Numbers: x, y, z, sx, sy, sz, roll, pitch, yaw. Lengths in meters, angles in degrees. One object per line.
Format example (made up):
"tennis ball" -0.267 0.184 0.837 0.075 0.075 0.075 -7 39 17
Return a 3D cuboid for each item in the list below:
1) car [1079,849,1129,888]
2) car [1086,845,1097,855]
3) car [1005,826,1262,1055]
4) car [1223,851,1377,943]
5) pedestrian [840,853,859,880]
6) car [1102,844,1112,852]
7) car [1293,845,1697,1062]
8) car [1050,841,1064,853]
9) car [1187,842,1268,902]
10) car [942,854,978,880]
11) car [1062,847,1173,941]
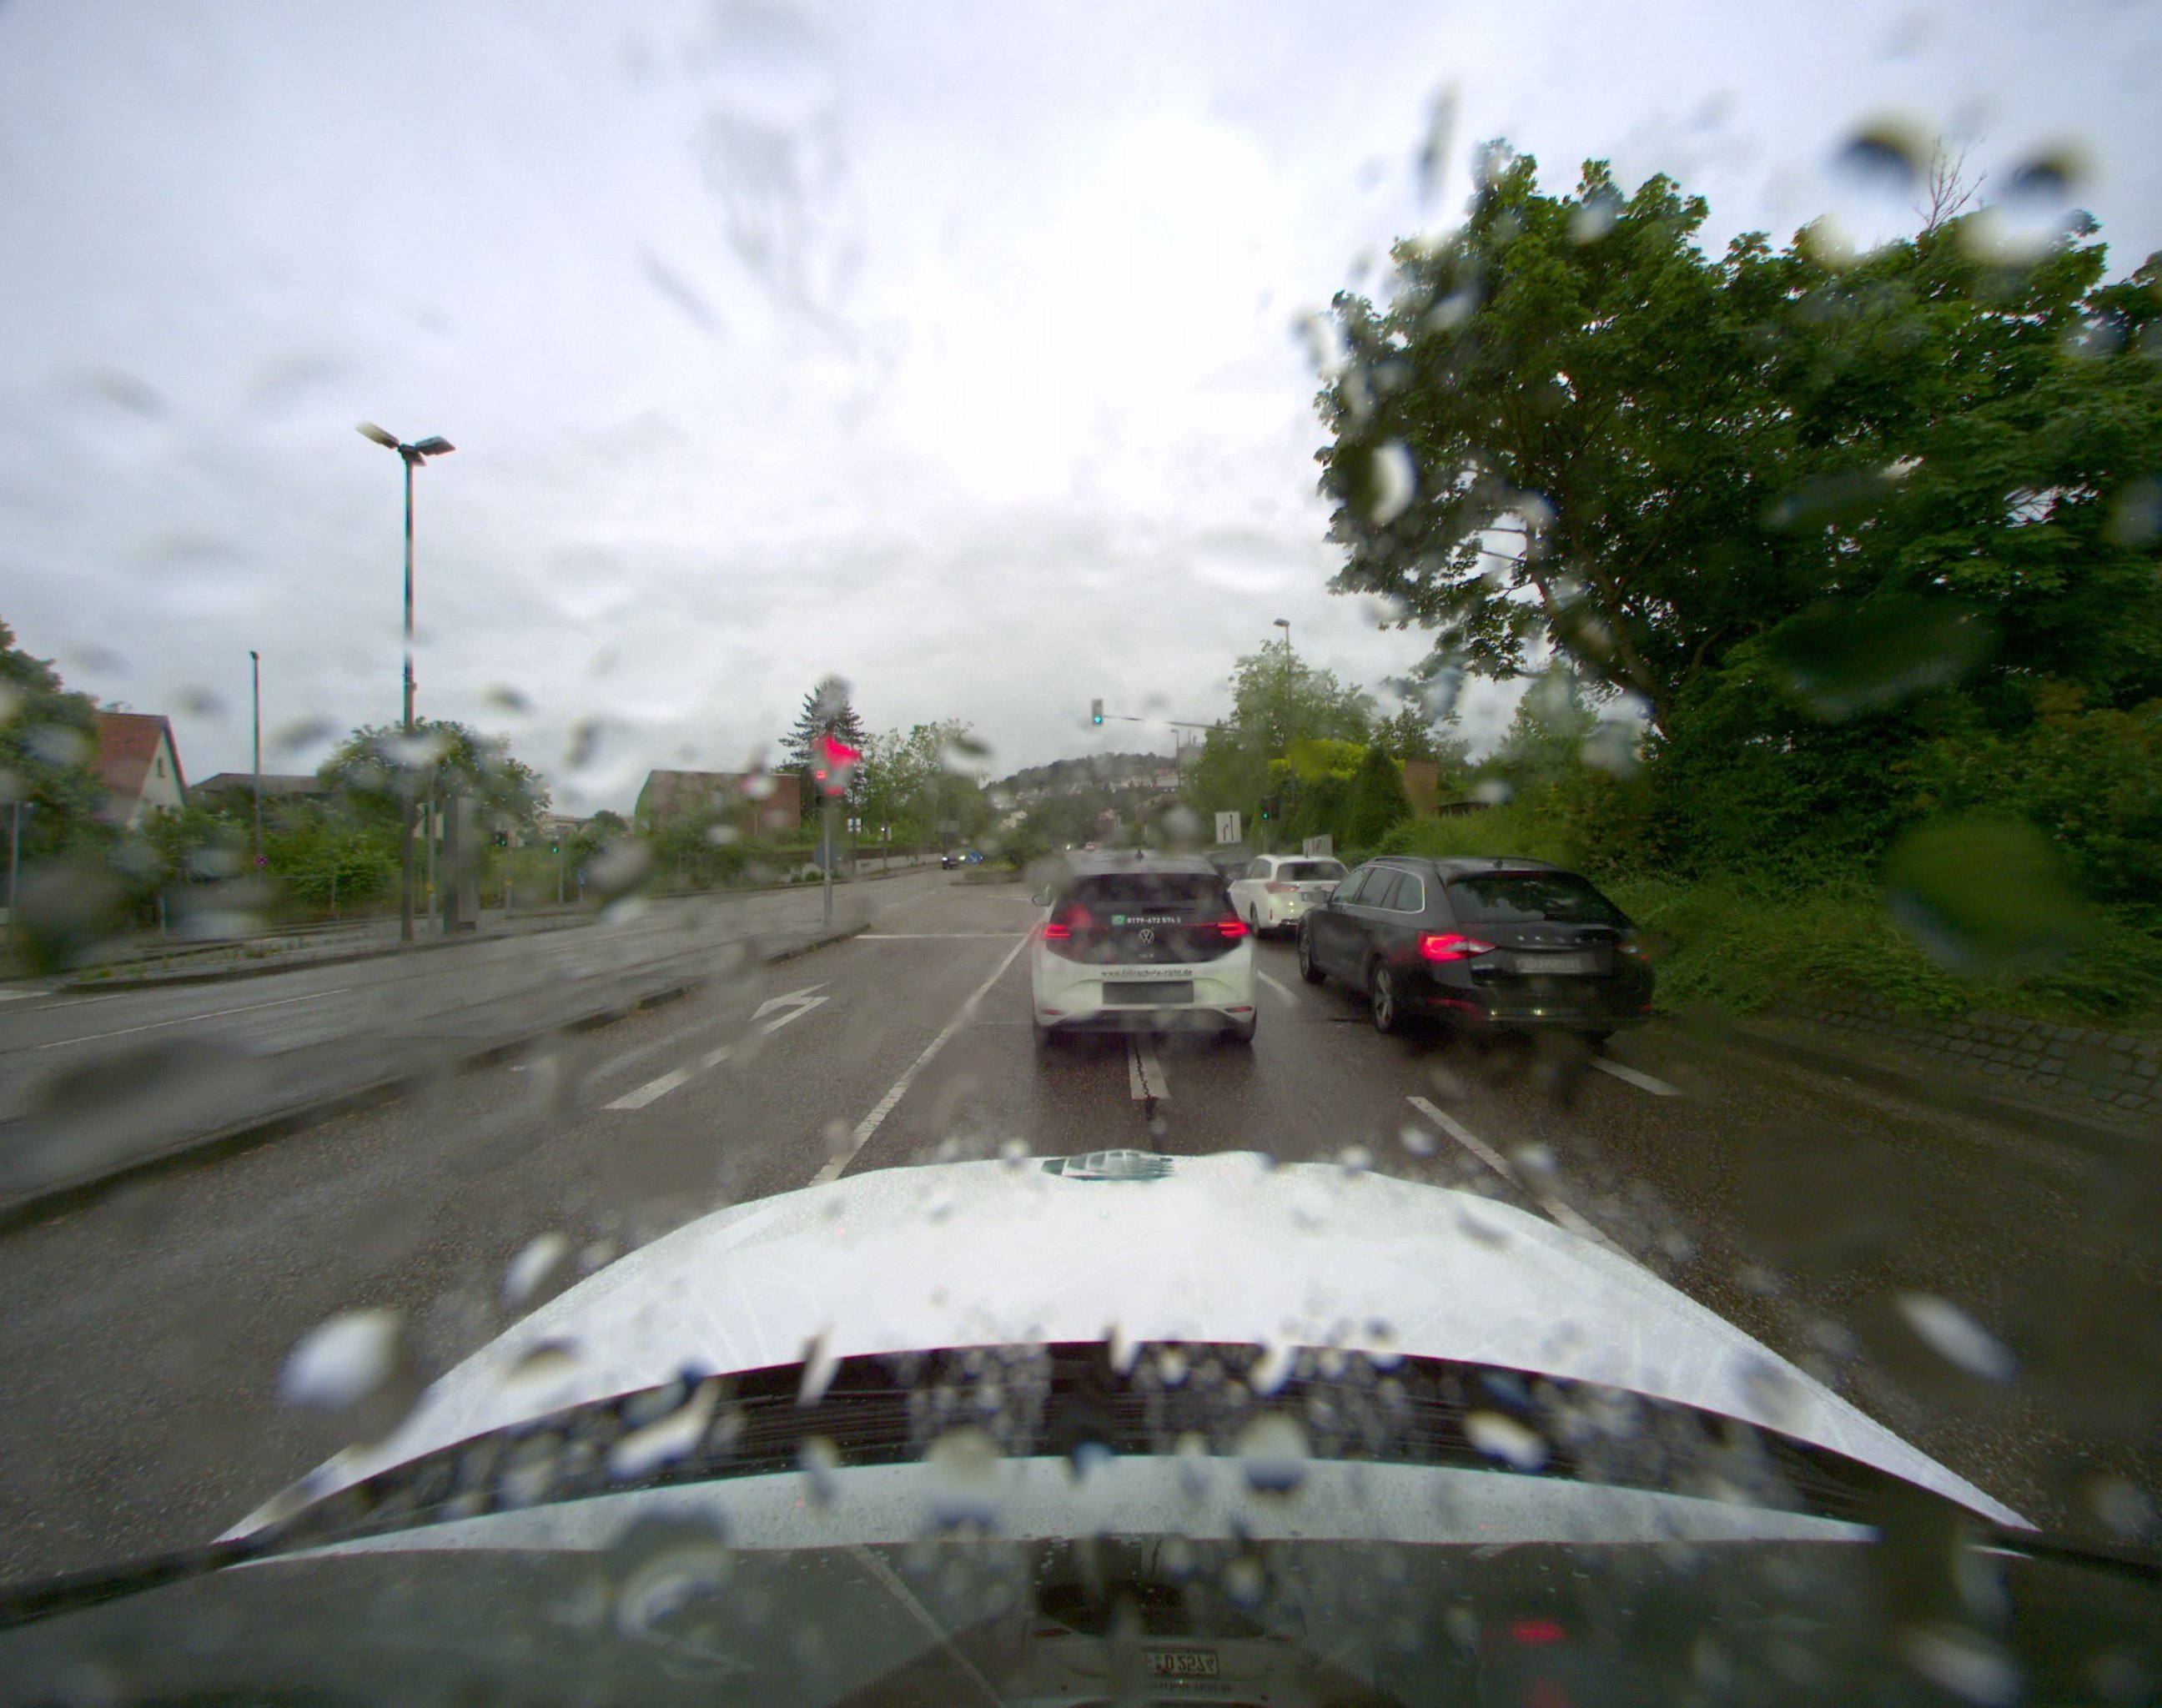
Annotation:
"car" 0.870 0.511 31.426 1.831 1.400 3.832 0 0 1
"car" 1.625 -0.682 128.196 1.575 1.467 4.000 -3 -1 1
"car" 0.428 0.601 8.118 1.831 1.629 4.617 0 0 1
"car" 3.856 0.679 15.065 1.831 1.466 4.118 0 0 1
"pedestrian" -13.901 0.759 48.909 0.757 1.568 0.825 -4 0 1
"car" 5.275 -1.176 164.017 1.755 1.418 3.748 -3 0 0
"car" 3.372 0.656 7.714 1.830 1.466 4.353 0 0 3
"car" -4.127 -1.247 140.781 1.986 2.014 4.002 -1 -1 2
"car" 4.123 0.475 23.523 1.769 1.581 4.002 0 0 2
"car" -9.404 1.008 63.496 1.986 1.804 4.002 -4 0 2
"car" 0.654 0.648 15.608 1.831 1.555 4.176 0 0 1
